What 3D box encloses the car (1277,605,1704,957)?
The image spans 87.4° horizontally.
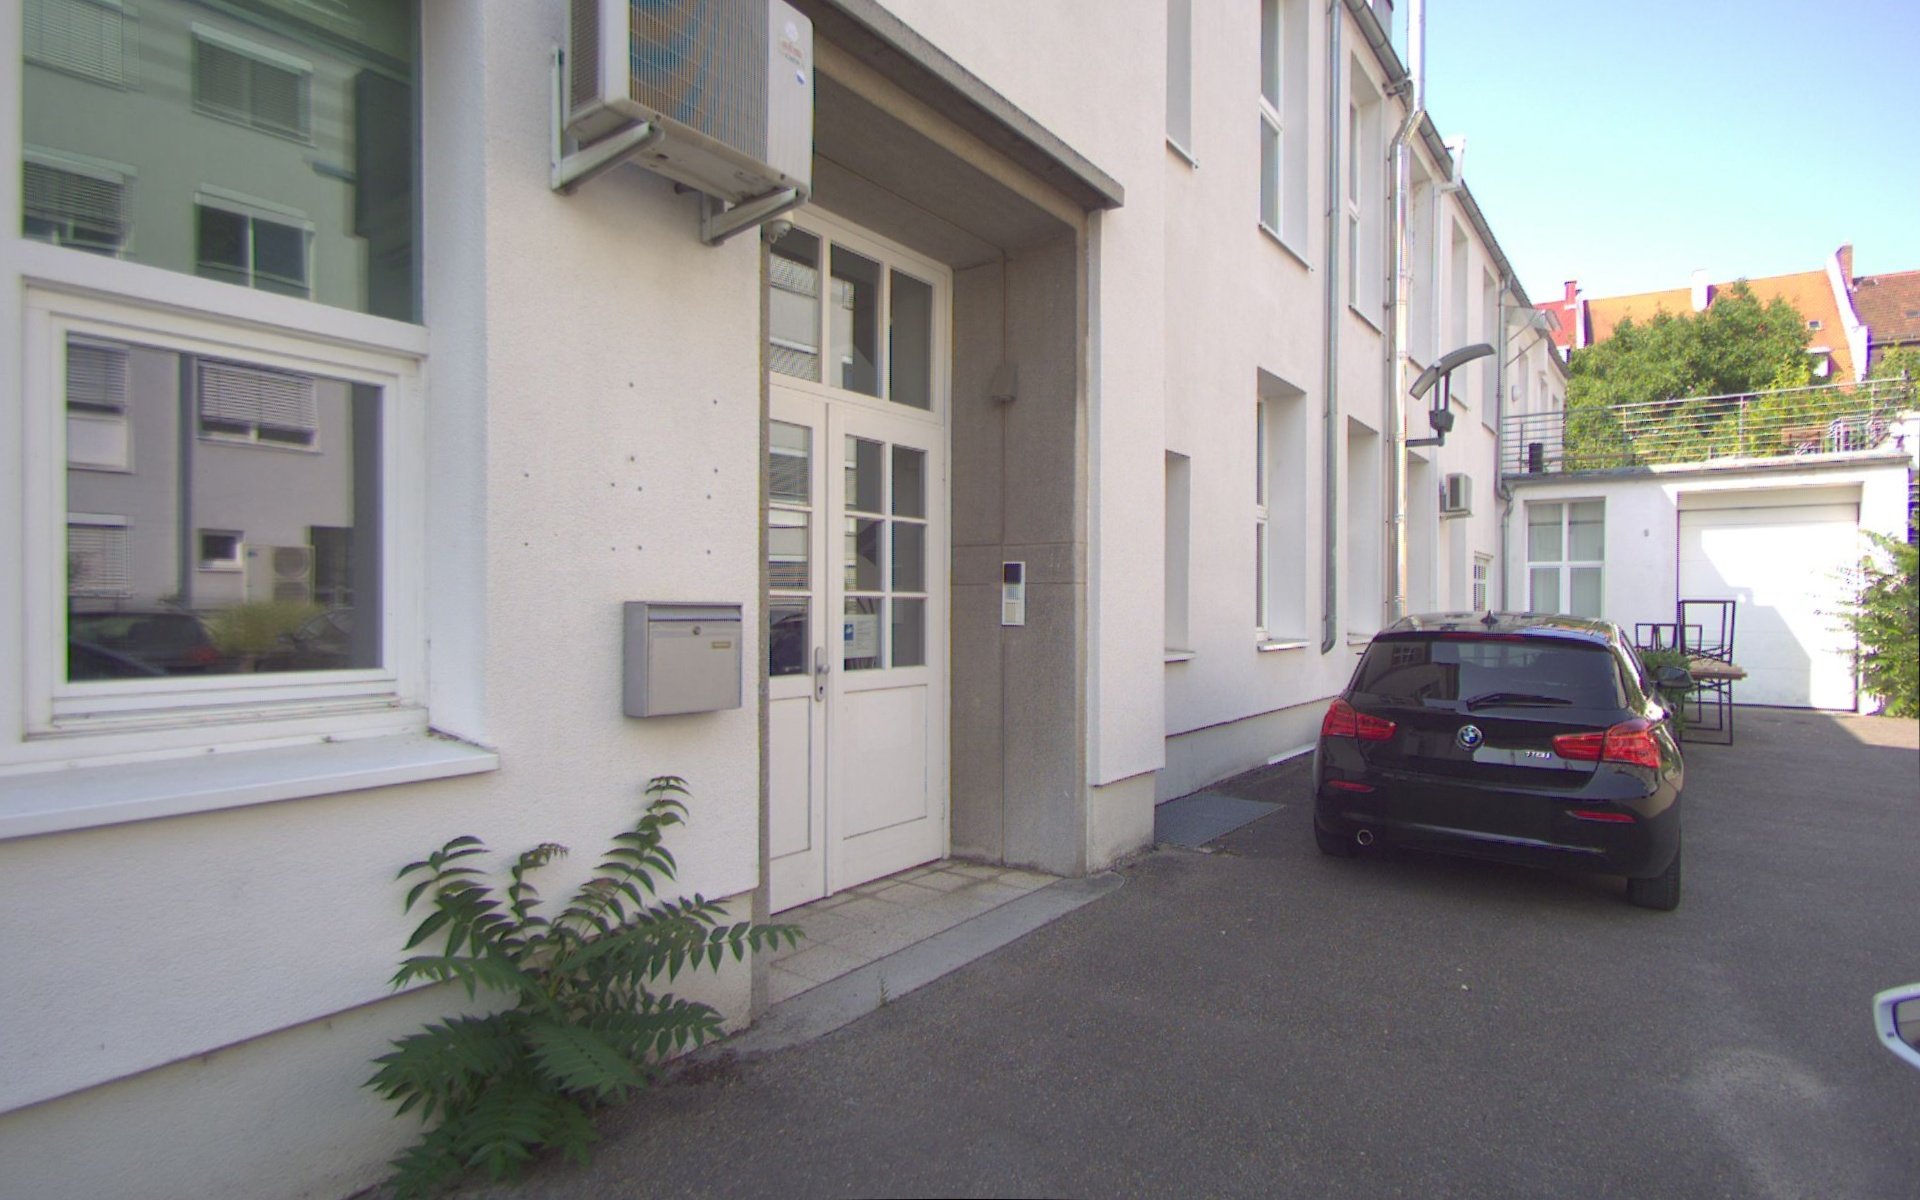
[{"bbox_3d":[3.530,0.776,6.445,1.768,1.447,4.124,1,0,34],"label":"car"}]
